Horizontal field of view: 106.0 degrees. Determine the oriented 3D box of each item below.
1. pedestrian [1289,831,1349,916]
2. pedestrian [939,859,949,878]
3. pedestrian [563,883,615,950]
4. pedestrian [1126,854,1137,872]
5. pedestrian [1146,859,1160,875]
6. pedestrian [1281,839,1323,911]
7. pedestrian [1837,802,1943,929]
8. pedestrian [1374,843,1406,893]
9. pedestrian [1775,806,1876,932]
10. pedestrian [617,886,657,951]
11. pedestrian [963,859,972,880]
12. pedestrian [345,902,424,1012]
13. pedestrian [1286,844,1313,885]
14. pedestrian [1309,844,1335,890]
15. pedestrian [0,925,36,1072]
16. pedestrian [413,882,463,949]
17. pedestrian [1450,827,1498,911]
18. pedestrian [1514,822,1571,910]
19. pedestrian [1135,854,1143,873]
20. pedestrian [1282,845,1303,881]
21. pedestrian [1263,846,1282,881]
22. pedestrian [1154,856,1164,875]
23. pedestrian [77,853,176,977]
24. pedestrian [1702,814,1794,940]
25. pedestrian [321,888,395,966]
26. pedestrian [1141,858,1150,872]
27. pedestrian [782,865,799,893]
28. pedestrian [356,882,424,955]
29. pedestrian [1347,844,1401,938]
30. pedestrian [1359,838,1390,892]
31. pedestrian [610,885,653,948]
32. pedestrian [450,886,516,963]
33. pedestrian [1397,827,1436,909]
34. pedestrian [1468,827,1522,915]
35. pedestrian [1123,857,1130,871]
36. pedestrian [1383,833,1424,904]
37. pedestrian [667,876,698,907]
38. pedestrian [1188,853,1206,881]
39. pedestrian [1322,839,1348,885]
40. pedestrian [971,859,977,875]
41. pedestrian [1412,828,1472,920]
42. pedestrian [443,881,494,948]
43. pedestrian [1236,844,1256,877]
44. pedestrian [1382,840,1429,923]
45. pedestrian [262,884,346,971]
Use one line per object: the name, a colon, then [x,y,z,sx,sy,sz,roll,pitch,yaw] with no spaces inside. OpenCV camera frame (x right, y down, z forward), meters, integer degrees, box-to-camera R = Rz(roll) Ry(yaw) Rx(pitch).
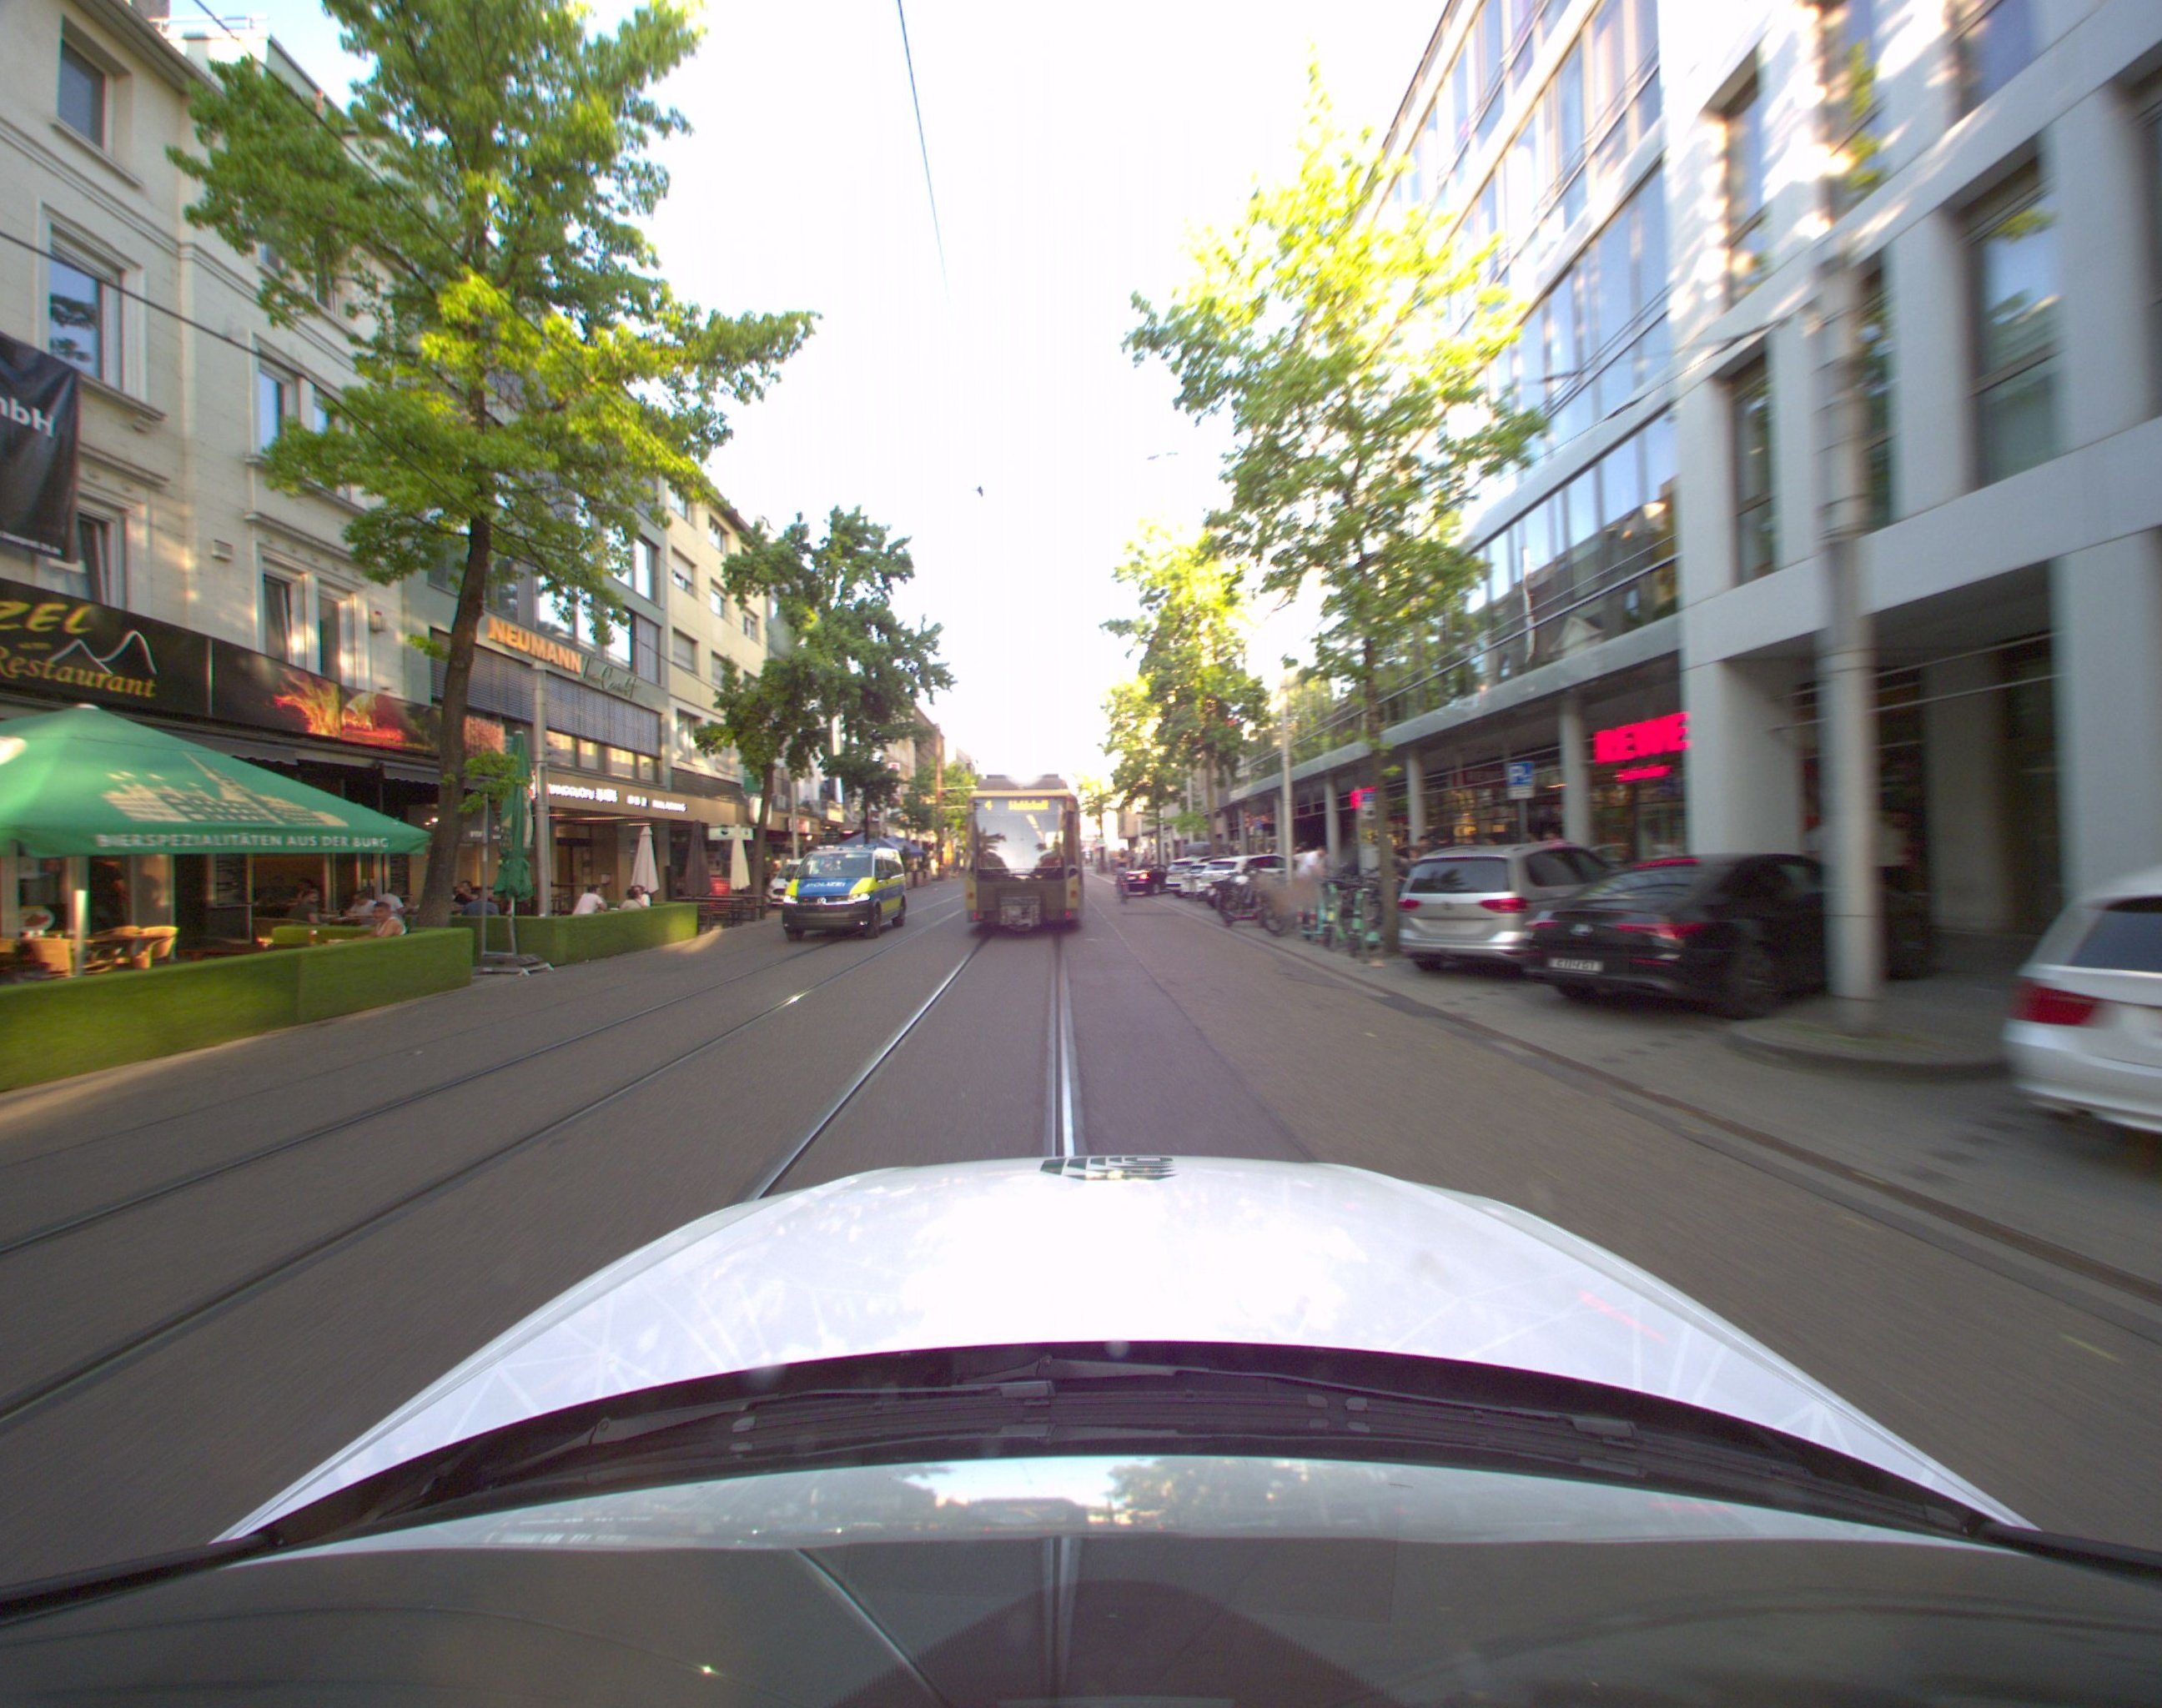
pedestrian: [5.669,0.442,19.419,0.950,1.913,0.858,-5,1,-14]
pedestrian: [-14.158,1.489,84.048,0.847,2.014,0.920,-1,-2,-3]
pedestrian: [-10.266,1.291,17.008,0.642,1.346,0.730,-1,-2,-1]
pedestrian: [5.040,0.915,81.314,0.886,1.782,0.750,-1,-2,-4]
pedestrian: [6.408,1.129,72.836,1.109,1.328,0.926,-4,0,-2]
pedestrian: [5.790,0.541,21.309,0.823,1.812,0.593,-5,2,-41]
pedestrian: [11.298,0.145,11.400,0.678,1.699,0.805,-1,1,-3]
pedestrian: [9.761,0.433,25.751,0.678,1.548,0.664,-1,-2,-3]
pedestrian: [10.505,0.198,11.517,0.678,1.699,0.805,-1,1,-3]
pedestrian: [-9.821,1.417,18.014,0.578,1.378,0.564,-1,-2,-2]
pedestrian: [-10.432,1.412,74.725,0.750,1.880,0.574,1,-2,-7]
pedestrian: [-9.225,1.348,10.805,0.546,1.378,0.564,-1,-2,-2]
pedestrian: [9.700,0.454,36.153,0.875,1.782,0.754,-4,0,-3]
pedestrian: [9.046,0.484,30.596,0.678,1.699,0.804,-1,-2,-3]
pedestrian: [-9.577,1.254,6.958,0.584,1.236,0.544,-1,-1,0]
pedestrian: [-13.785,1.308,17.477,0.536,1.378,0.678,-1,-2,-2]
pedestrian: [8.801,0.324,18.254,0.655,1.812,0.717,-3,0,2]
pedestrian: [8.535,0.224,15.095,0.754,1.572,0.635,-3,-1,20]
pedestrian: [5.560,0.884,78.133,0.746,1.782,0.891,-1,-2,1]
pedestrian: [9.836,0.388,37.889,0.595,1.616,1.021,-4,0,-3]
pedestrian: [9.028,0.447,38.324,0.595,1.616,0.754,-4,0,-3]
pedestrian: [6.820,0.991,71.499,0.699,1.637,0.645,-4,0,-2]
pedestrian: [-14.241,0.882,12.177,0.656,1.766,0.760,-1,-2,-21]
pedestrian: [9.821,0.321,12.017,0.678,1.771,0.805,-1,1,-3]
pedestrian: [-13.048,1.296,14.717,0.652,1.331,0.765,-1,-2,-2]
pedestrian: [6.186,1.067,78.406,0.737,1.328,0.720,-4,0,-2]
pedestrian: [-14.768,1.264,41.412,0.608,1.434,0.511,1,-1,1]
pedestrian: [-13.635,1.257,16.085,0.688,1.378,0.765,-1,-2,-2]
pedestrian: [5.252,0.649,14.634,0.783,1.625,0.773,-4,0,16]
pedestrian: [9.445,0.335,26.232,0.678,1.699,0.805,-1,1,-3]
pedestrian: [-9.403,1.287,17.050,0.550,1.266,0.641,-1,-2,-1]
pedestrian: [-10.356,1.206,14.122,0.706,1.265,0.599,-1,-2,-2]
pedestrian: [7.702,0.315,18.697,0.651,1.812,0.721,-4,0,28]
pedestrian: [8.589,0.350,16.920,0.725,1.754,0.719,-4,0,11]
pedestrian: [5.600,1.224,100.880,0.699,1.684,0.680,-4,0,-2]
pedestrian: [8.465,0.376,21.394,0.782,1.812,0.664,-4,0,33]
pedestrian: [-14.786,1.383,30.215,0.775,1.095,0.728,1,-2,-2]
pedestrian: [6.656,0.763,46.749,0.875,1.581,0.754,0,0,-3]
pedestrian: [9.756,0.310,31.320,0.660,1.699,0.804,-1,-2,-3]
pedestrian: [-11.548,1.383,88.107,0.550,1.687,0.574,1,-2,-6]
pedestrian: [7.388,0.397,16.660,0.876,1.812,0.943,-4,0,33]
pedestrian: [-13.098,1.282,17.427,0.603,1.378,0.647,-1,-2,-2]
pedestrian: [9.512,0.390,46.914,0.830,1.836,0.943,-3,0,-2]
pedestrian: [6.622,0.555,16.612,0.697,1.624,0.664,-4,0,33]
pedestrian: [-12.938,1.203,13.581,0.652,1.378,0.765,-1,-2,-2]
